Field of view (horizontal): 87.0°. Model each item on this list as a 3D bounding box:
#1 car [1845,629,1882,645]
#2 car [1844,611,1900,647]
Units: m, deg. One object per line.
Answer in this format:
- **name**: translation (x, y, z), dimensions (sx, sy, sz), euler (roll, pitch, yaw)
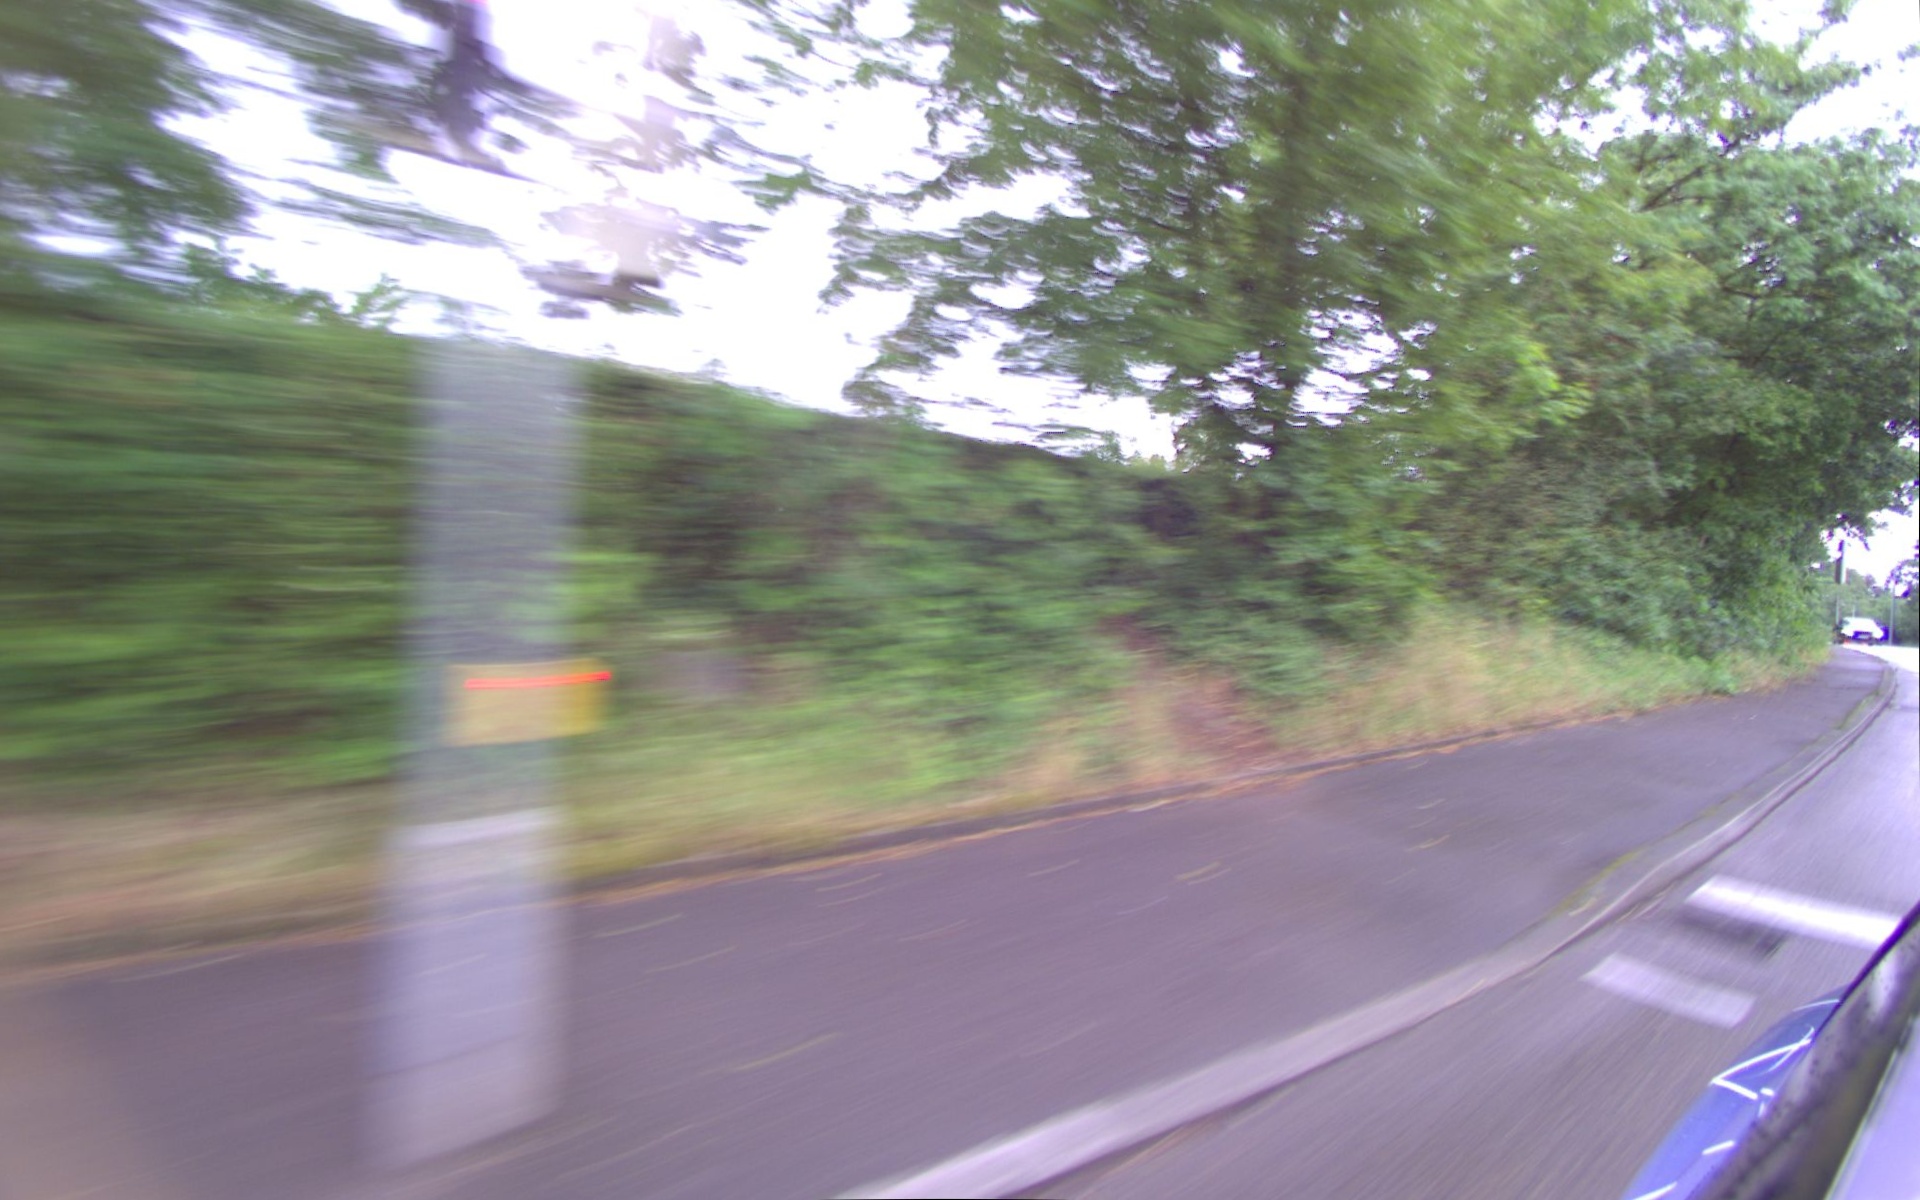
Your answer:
- **car**: translation (91.398, 3.742, 102.397), dimensions (1.866, 1.391, 4.336), euler (4, 0, 30)
- **car**: translation (48.392, 1.556, 53.787), dimensions (1.993, 1.605, 3.940), euler (6, 2, 41)
